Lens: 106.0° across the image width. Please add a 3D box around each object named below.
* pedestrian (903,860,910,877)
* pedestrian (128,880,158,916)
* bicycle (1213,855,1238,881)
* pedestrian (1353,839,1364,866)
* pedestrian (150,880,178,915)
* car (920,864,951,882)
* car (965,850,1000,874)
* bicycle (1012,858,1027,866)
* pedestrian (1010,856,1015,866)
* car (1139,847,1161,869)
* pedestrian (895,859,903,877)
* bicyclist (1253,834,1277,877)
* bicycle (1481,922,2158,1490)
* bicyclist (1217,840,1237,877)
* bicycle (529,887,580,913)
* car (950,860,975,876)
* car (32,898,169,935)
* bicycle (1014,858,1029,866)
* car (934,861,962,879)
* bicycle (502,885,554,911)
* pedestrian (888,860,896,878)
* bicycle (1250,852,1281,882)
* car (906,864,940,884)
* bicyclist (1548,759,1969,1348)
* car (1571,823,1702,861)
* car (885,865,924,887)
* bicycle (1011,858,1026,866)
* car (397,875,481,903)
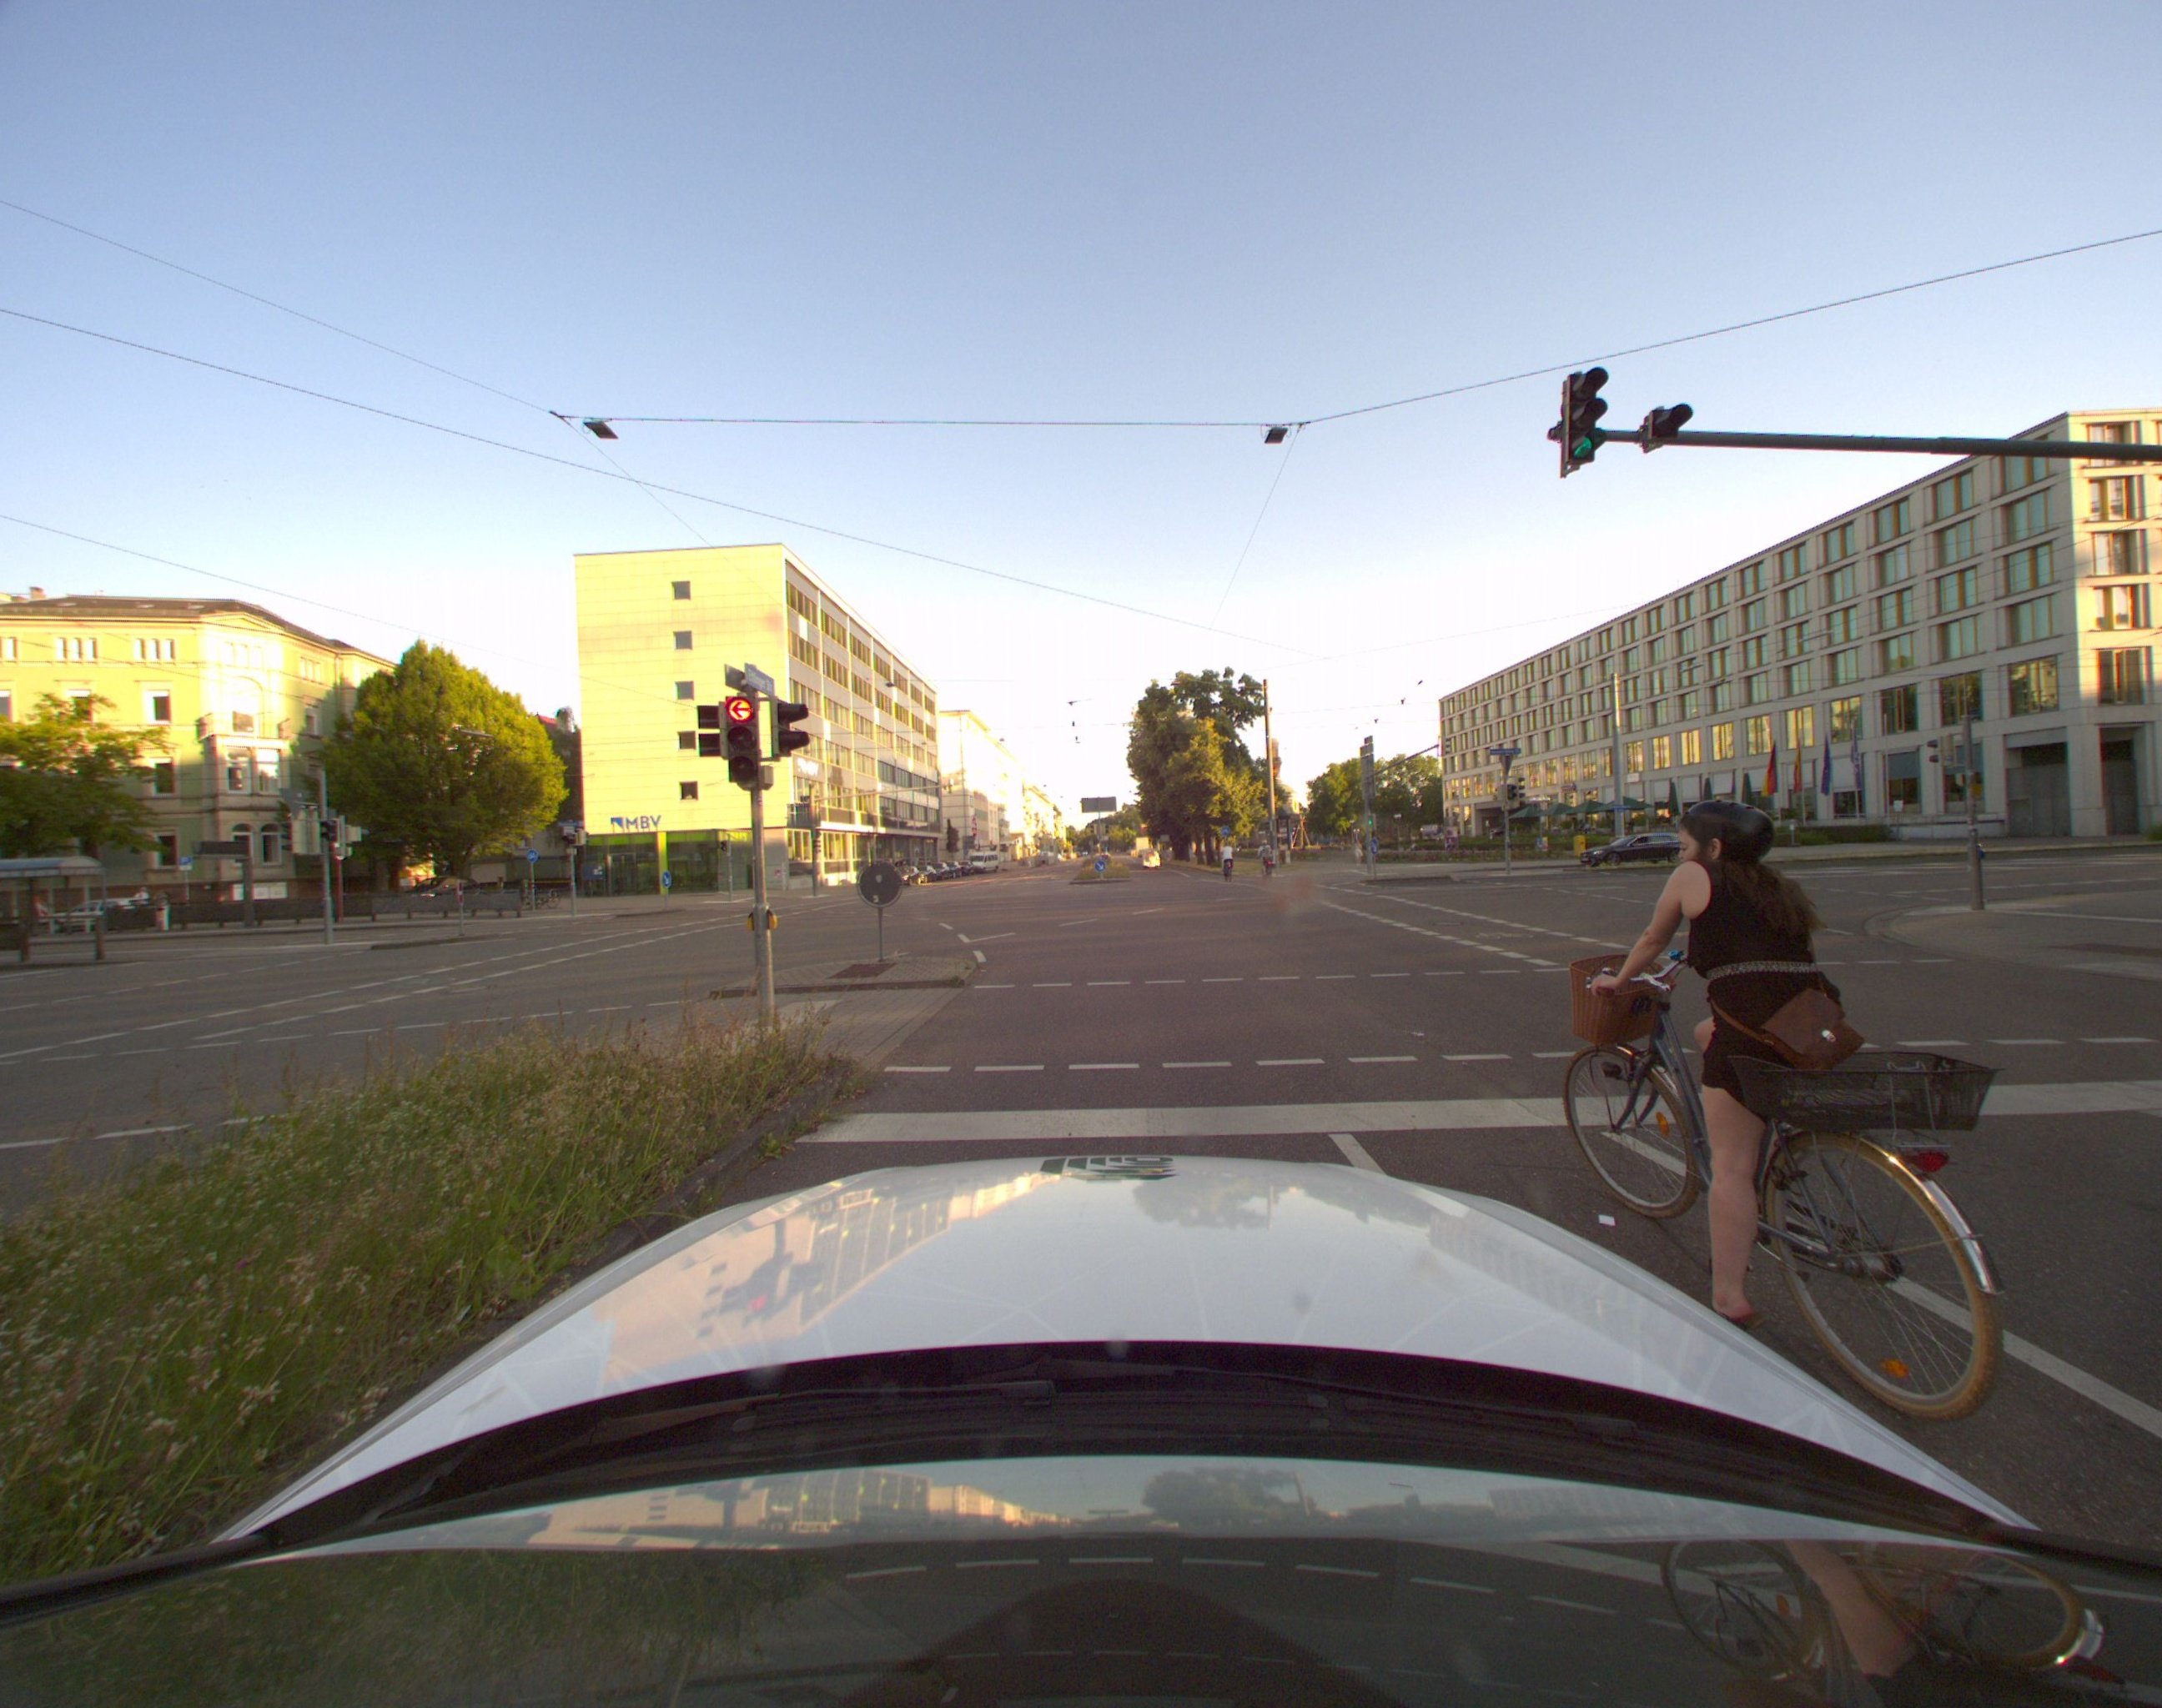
[{"bbox_3d":[-16.846,1.393,78.672,0.549,1.679,0.500,-3,0,1],"label":"pedestrian"},{"bbox_3d":[-48.143,2.236,41.809,0.641,1.790,0.720,-3,0,-12],"label":"pedestrian"},{"bbox_3d":[6.699,0.623,37.902,0.744,1.144,2.506,-3,0,2],"label":"bicycle"},{"bbox_3d":[16.563,-0.088,48.643,0.489,1.540,0.408,-3,0,1],"label":"pedestrian"},{"bbox_3d":[-48.023,2.255,42.650,0.641,1.790,0.720,-3,0,-12],"label":"pedestrian"},{"bbox_3d":[-13.103,1.687,73.731,1.913,1.464,4.002,-3,0,2],"label":"car"},{"bbox_3d":[-11.057,0.870,91.690,1.988,2.478,5.888,-3,0,12],"label":"car"},{"bbox_3d":[-9.661,1.302,127.398,2.198,1.112,0.689,-3,0,0],"label":"bicycle"},{"bbox_3d":[-13.930,1.409,165.453,0.677,2.013,0.545,-3,0,1],"label":"pedestrian"},{"bbox_3d":[5.537,0.296,65.291,1.403,1.641,4.000,-3,0,1],"label":"car"},{"bbox_3d":[-17.591,1.354,78.780,0.549,1.679,0.500,-3,0,1],"label":"pedestrian"},{"bbox_3d":[7.465,0.054,33.095,0.744,1.691,0.799,-3,0,1],"label":"bicyclist"},{"bbox_3d":[2.187,0.893,2.874,0.609,1.132,2.005,-1,0,2],"label":"bicycle"},{"bbox_3d":[6.721,0.193,37.489,0.744,1.663,0.873,-3,0,1],"label":"bicyclist"},{"bbox_3d":[-25.659,2.236,39.768,0.832,1.112,2.216,-3,0,6],"label":"bicycle"},{"bbox_3d":[-12.383,1.449,85.255,1.913,1.568,4.002,-3,0,2],"label":"car"},{"bbox_3d":[-45.234,2.850,37.679,3.588,1.372,1.833,-3,0,-15],"label":"car"},{"bbox_3d":[-9.484,1.287,129.343,2.198,1.236,0.839,-3,0,0],"label":"bicycle"},{"bbox_3d":[-12.851,1.577,79.032,1.913,1.568,4.002,-3,0,2],"label":"car"},{"bbox_3d":[-27.049,2.123,39.891,0.832,1.112,2.216,-3,0,6],"label":"bicycle"},{"bbox_3d":[-18.218,1.418,78.571,0.549,1.679,0.500,-3,0,1],"label":"pedestrian"},{"bbox_3d":[7.492,0.490,33.205,0.744,1.144,2.506,-3,0,2],"label":"bicycle"},{"bbox_3d":[-13.311,1.649,68.918,1.913,1.464,4.002,-3,0,2],"label":"car"},{"bbox_3d":[2.176,0.558,2.773,0.597,1.636,0.999,-1,0,2],"label":"bicyclist"},{"bbox_3d":[26.488,-0.563,38.960,4.803,1.515,2.002,-3,0,4],"label":"car"},{"bbox_3d":[-13.507,1.663,62.421,1.913,1.464,4.105,-3,0,2],"label":"car"},{"bbox_3d":[-9.697,1.306,125.981,2.198,1.112,0.619,-3,0,0],"label":"bicycle"},{"bbox_3d":[-36.364,1.947,46.269,1.830,1.372,3.594,-3,0,0],"label":"car"}]
